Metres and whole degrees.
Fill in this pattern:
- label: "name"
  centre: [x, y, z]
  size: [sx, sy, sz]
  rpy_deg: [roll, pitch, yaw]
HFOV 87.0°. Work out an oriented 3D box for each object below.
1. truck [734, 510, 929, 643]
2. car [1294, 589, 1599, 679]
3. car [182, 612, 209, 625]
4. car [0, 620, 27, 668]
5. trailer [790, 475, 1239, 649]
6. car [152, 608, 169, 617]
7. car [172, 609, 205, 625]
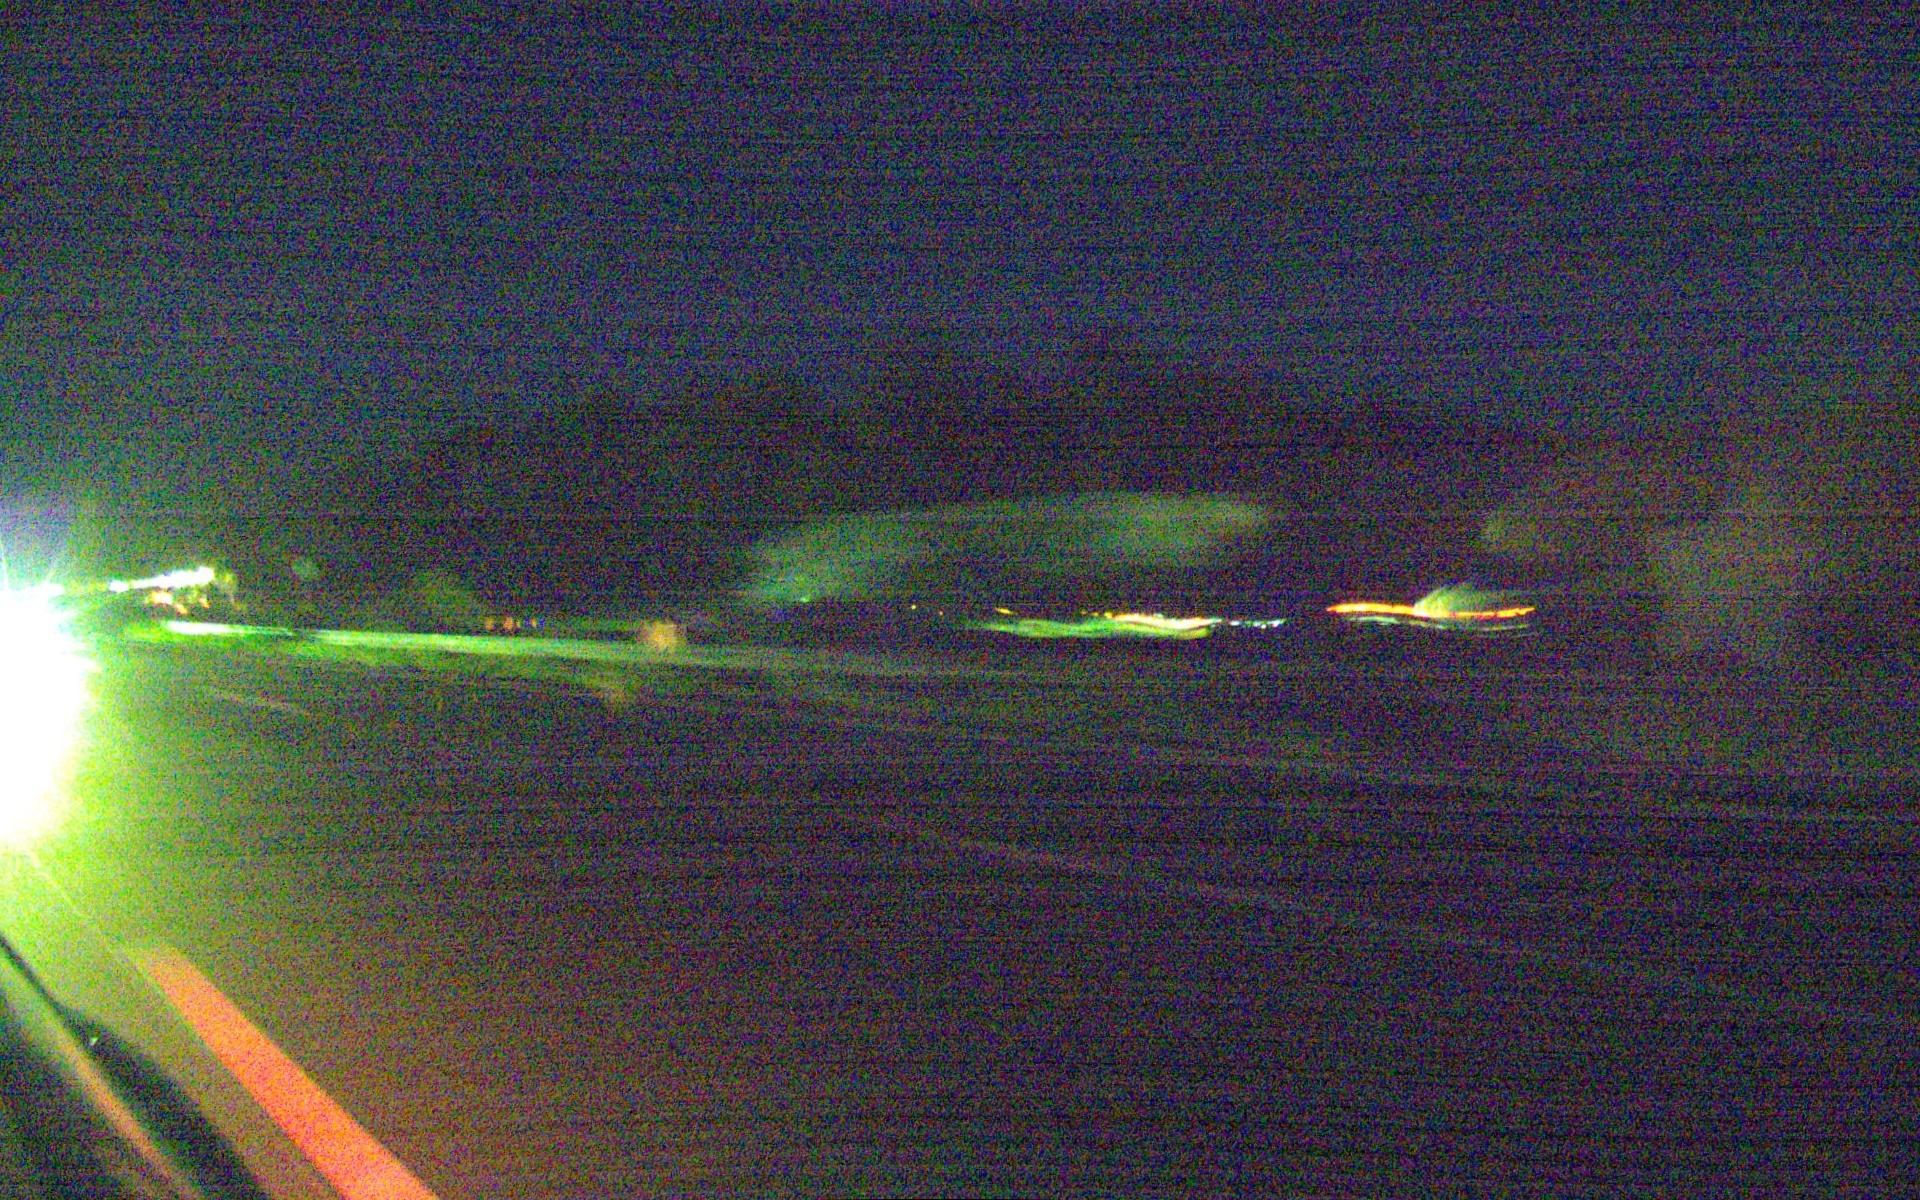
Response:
- label: "truck"
  centre: [-4.467, -0.678, 34.772]
  size: [5.991, 4.130, 3.553]
  rpy_deg: [-1, -1, 41]
- label: "car"
  centre: [8.504, 0.566, 17.885]
  size: [4.508, 1.394, 2.044]
  rpy_deg: [-1, -1, 39]
- label: "car"
  centre: [-90.244, 2.181, 119.494]
  size: [4.001, 1.519, 1.971]
  rpy_deg: [-1, 0, 44]
- label: "car"
  centre: [-32.830, 1.485, 34.203]
  size: [1.806, 1.422, 4.005]
  rpy_deg: [-2, 2, -42]
- label: "trailer"
  centre: [0.884, -0.791, 30.040]
  size: [14.117, 4.121, 3.561]
  rpy_deg: [-1, -1, 41]
- label: "car"
  centre: [-146.500, 2.312, 185.467]
  size: [4.317, 1.519, 1.971]
  rpy_deg: [0, 0, 44]
- label: "car"
  centre: [-76.031, 1.645, 99.703]
  size: [4.001, 1.519, 1.971]
  rpy_deg: [-1, 0, 44]
